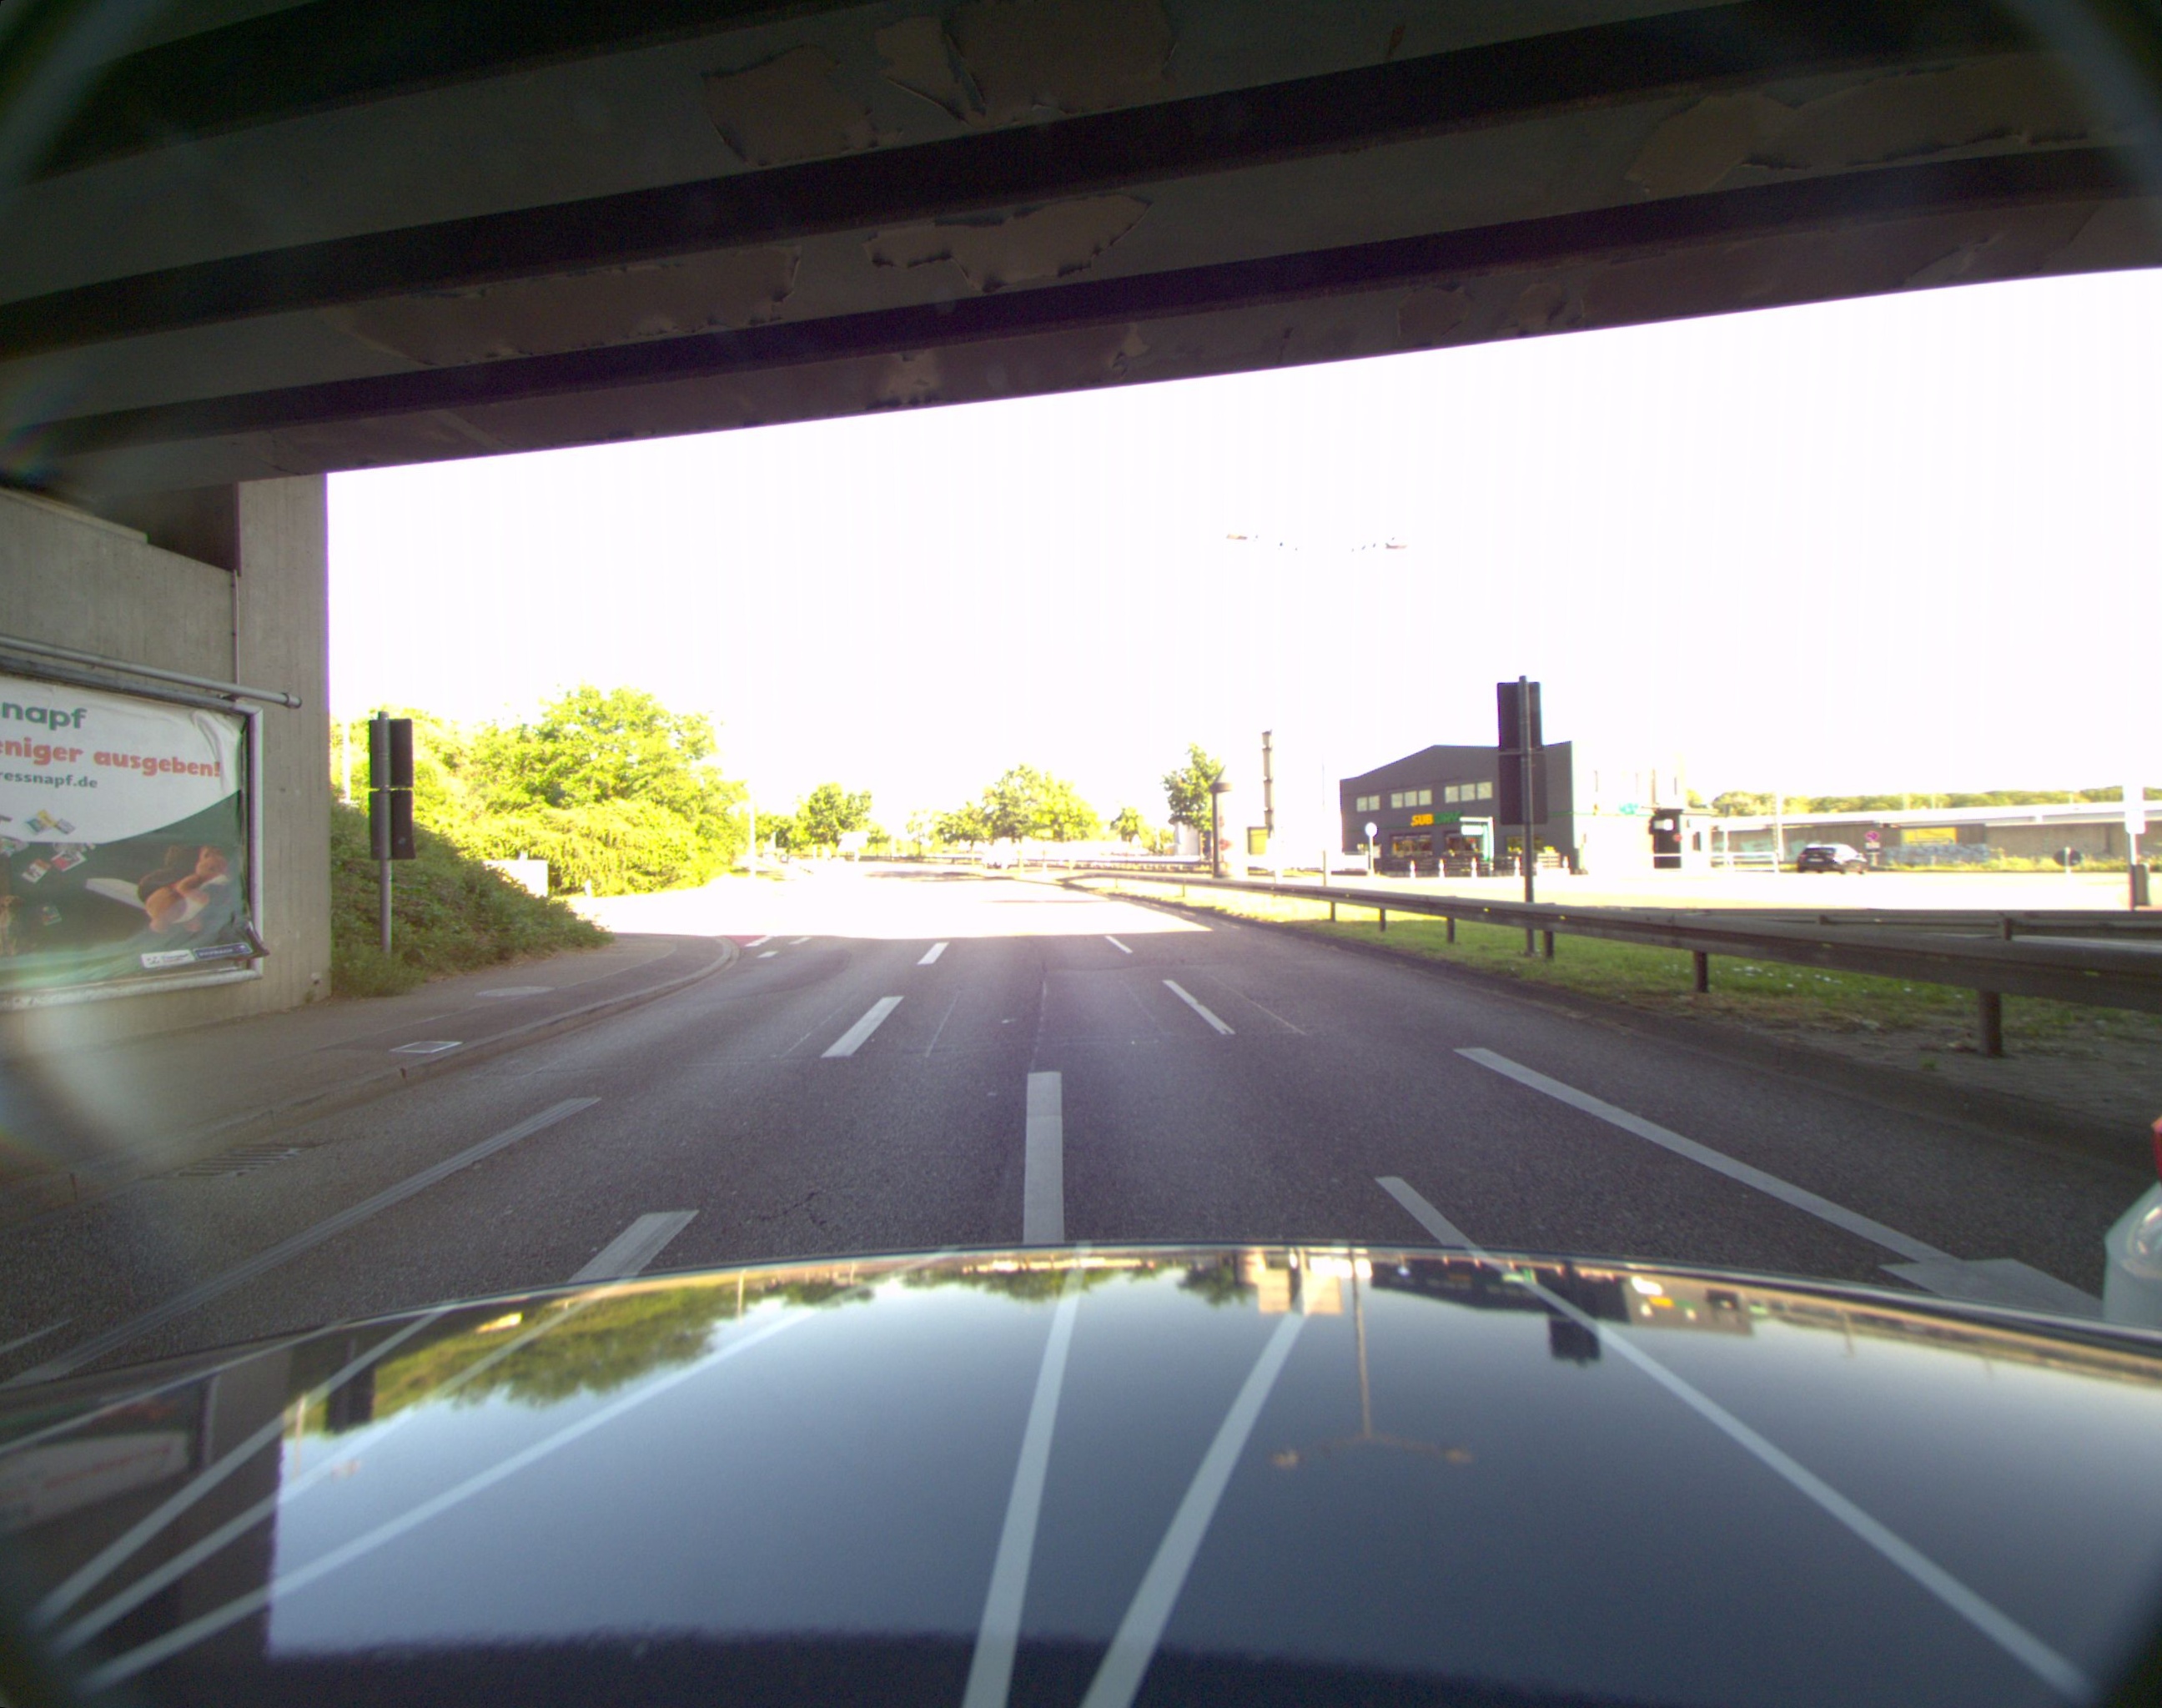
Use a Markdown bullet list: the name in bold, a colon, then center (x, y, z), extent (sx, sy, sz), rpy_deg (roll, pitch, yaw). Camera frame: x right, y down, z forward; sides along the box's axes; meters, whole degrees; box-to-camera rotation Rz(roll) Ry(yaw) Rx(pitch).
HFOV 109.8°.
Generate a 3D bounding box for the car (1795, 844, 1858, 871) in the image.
- **car**: center (38.288, 0.186, 39.014), extent (4.191, 1.274, 1.825), rpy_deg (1, 0, -39)

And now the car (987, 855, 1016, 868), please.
- **car**: center (-8.278, 0.781, 78.948), extent (1.750, 1.274, 4.174), rpy_deg (1, 0, -24)

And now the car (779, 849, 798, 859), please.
- **car**: center (-43.614, 0.010, 113.327), extent (1.742, 1.411, 4.309), rpy_deg (-1, -2, -34)

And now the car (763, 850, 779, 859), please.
- **car**: center (-52.625, 0.092, 128.924), extent (1.742, 1.411, 4.309), rpy_deg (-1, -2, -31)

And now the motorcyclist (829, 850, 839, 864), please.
- **motorcyclist**: center (-39.178, 0.516, 120.613), extent (1.111, 2.228, 1.179), rpy_deg (-3, 1, -40)

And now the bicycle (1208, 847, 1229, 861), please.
- **bicycle**: center (10.455, 0.016, 57.778), extent (0.594, 1.017, 1.746), rpy_deg (-3, 1, -28)
